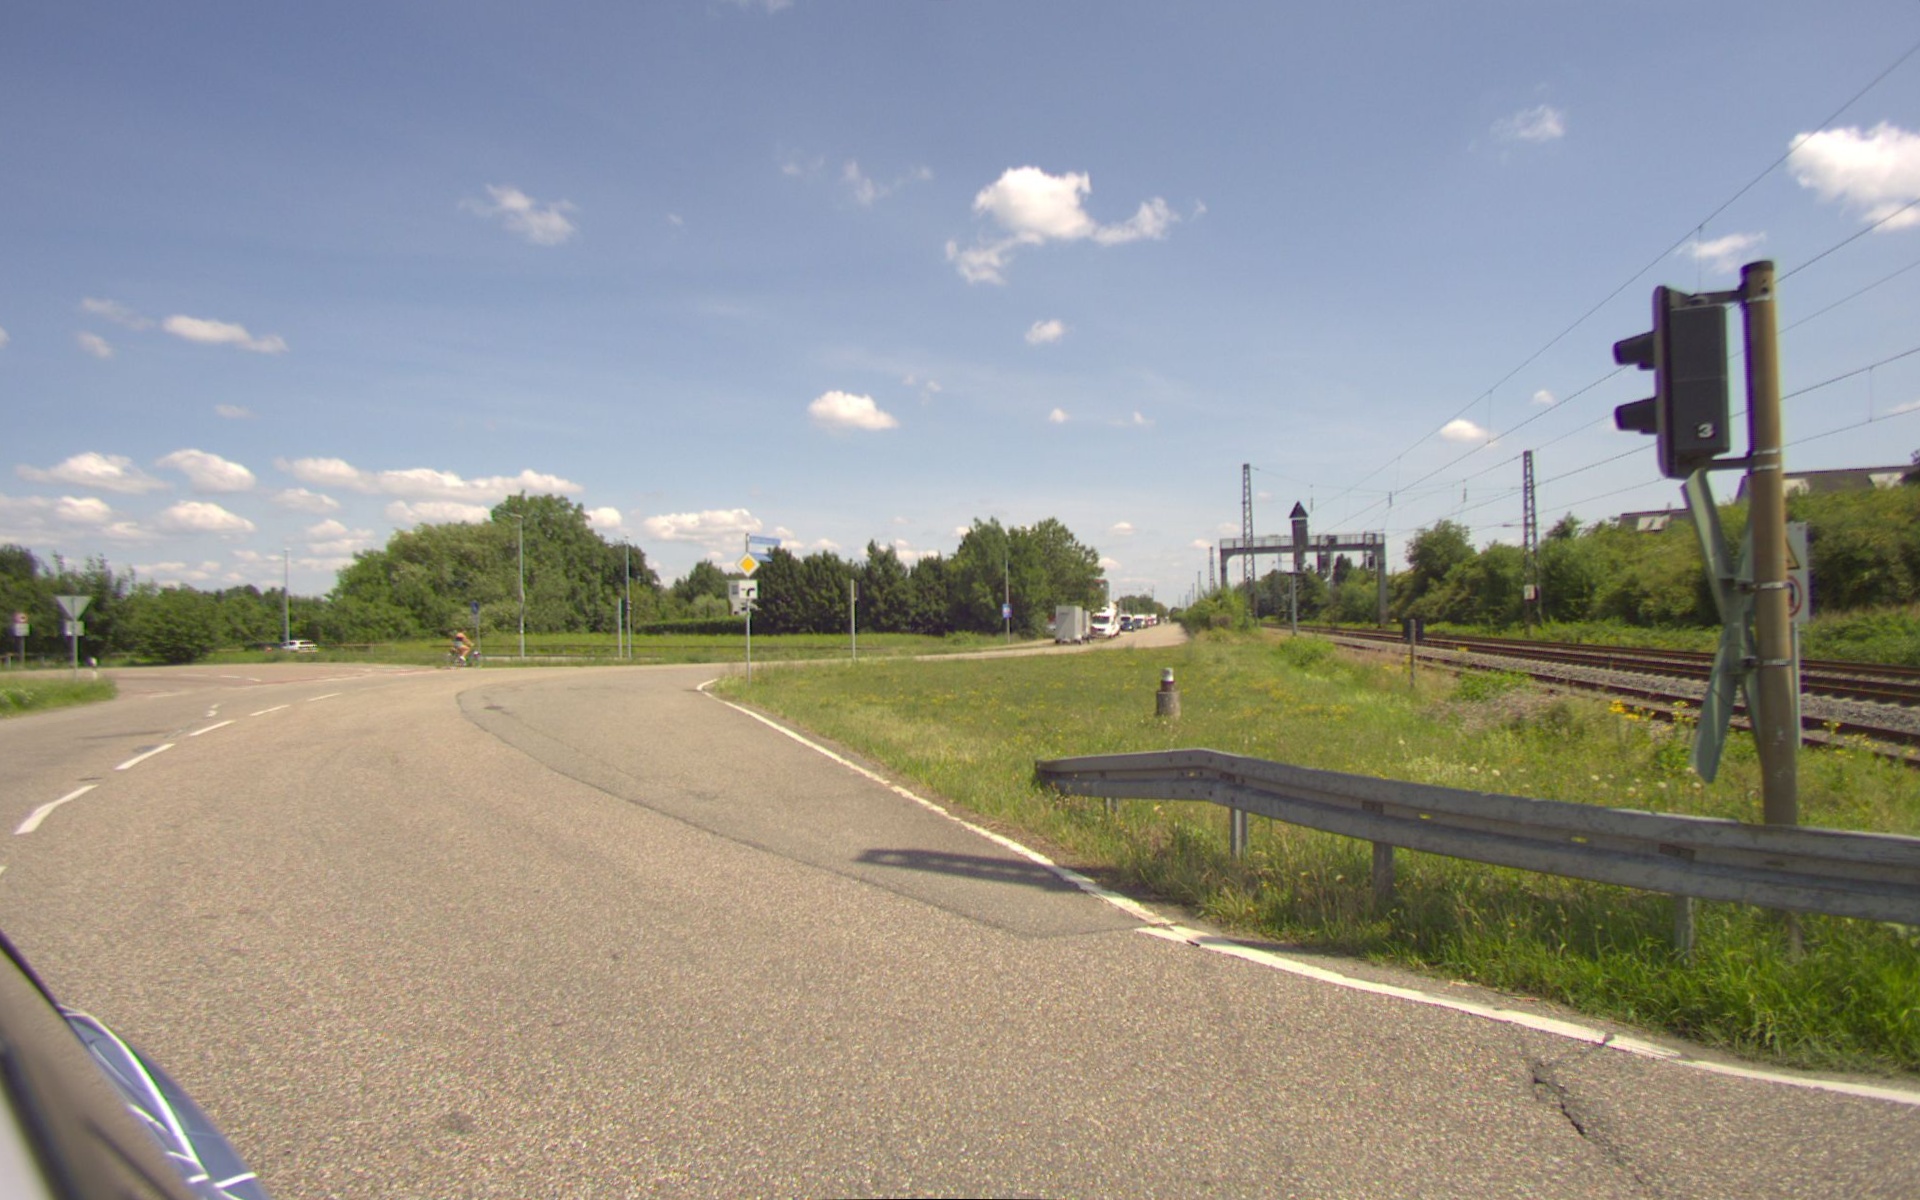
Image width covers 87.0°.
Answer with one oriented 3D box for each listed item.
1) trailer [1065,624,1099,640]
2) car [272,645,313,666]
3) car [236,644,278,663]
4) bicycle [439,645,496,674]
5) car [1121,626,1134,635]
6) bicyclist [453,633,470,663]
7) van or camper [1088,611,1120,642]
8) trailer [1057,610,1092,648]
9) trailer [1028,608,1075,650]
[{"bbox_3d":[9.585,2.506,78.999,1.993,1.131,4.466,1,0,15],"label":"trailer"},{"bbox_3d":[-55.732,4.641,84.487,3.100,1.516,1.407,-4,-2,25],"label":"car"},{"bbox_3d":[-56.524,4.260,81.319,3.101,1.348,1.406,-4,-2,26],"label":"car"},{"bbox_3d":[-21.198,2.554,43.561,0.661,1.173,2.117,-3,-2,41],"label":"bicycle"},{"bbox_3d":[23.424,4.216,141.721,1.569,1.238,3.768,-2,-2,13],"label":"car"},{"bbox_3d":[-21.365,2.059,43.380,0.469,1.265,0.504,-3,-2,41],"label":"bicyclist"},{"bbox_3d":[13.838,2.506,96.852,2.422,2.848,7.592,0,-1,12],"label":"van or camper"},{"bbox_3d":[8.185,2.032,71.924,1.906,2.527,4.721,1,-1,13],"label":"trailer"},{"bbox_3d":[6.059,1.884,66.339,1.924,2.664,5.151,1,-1,18],"label":"trailer"}]
